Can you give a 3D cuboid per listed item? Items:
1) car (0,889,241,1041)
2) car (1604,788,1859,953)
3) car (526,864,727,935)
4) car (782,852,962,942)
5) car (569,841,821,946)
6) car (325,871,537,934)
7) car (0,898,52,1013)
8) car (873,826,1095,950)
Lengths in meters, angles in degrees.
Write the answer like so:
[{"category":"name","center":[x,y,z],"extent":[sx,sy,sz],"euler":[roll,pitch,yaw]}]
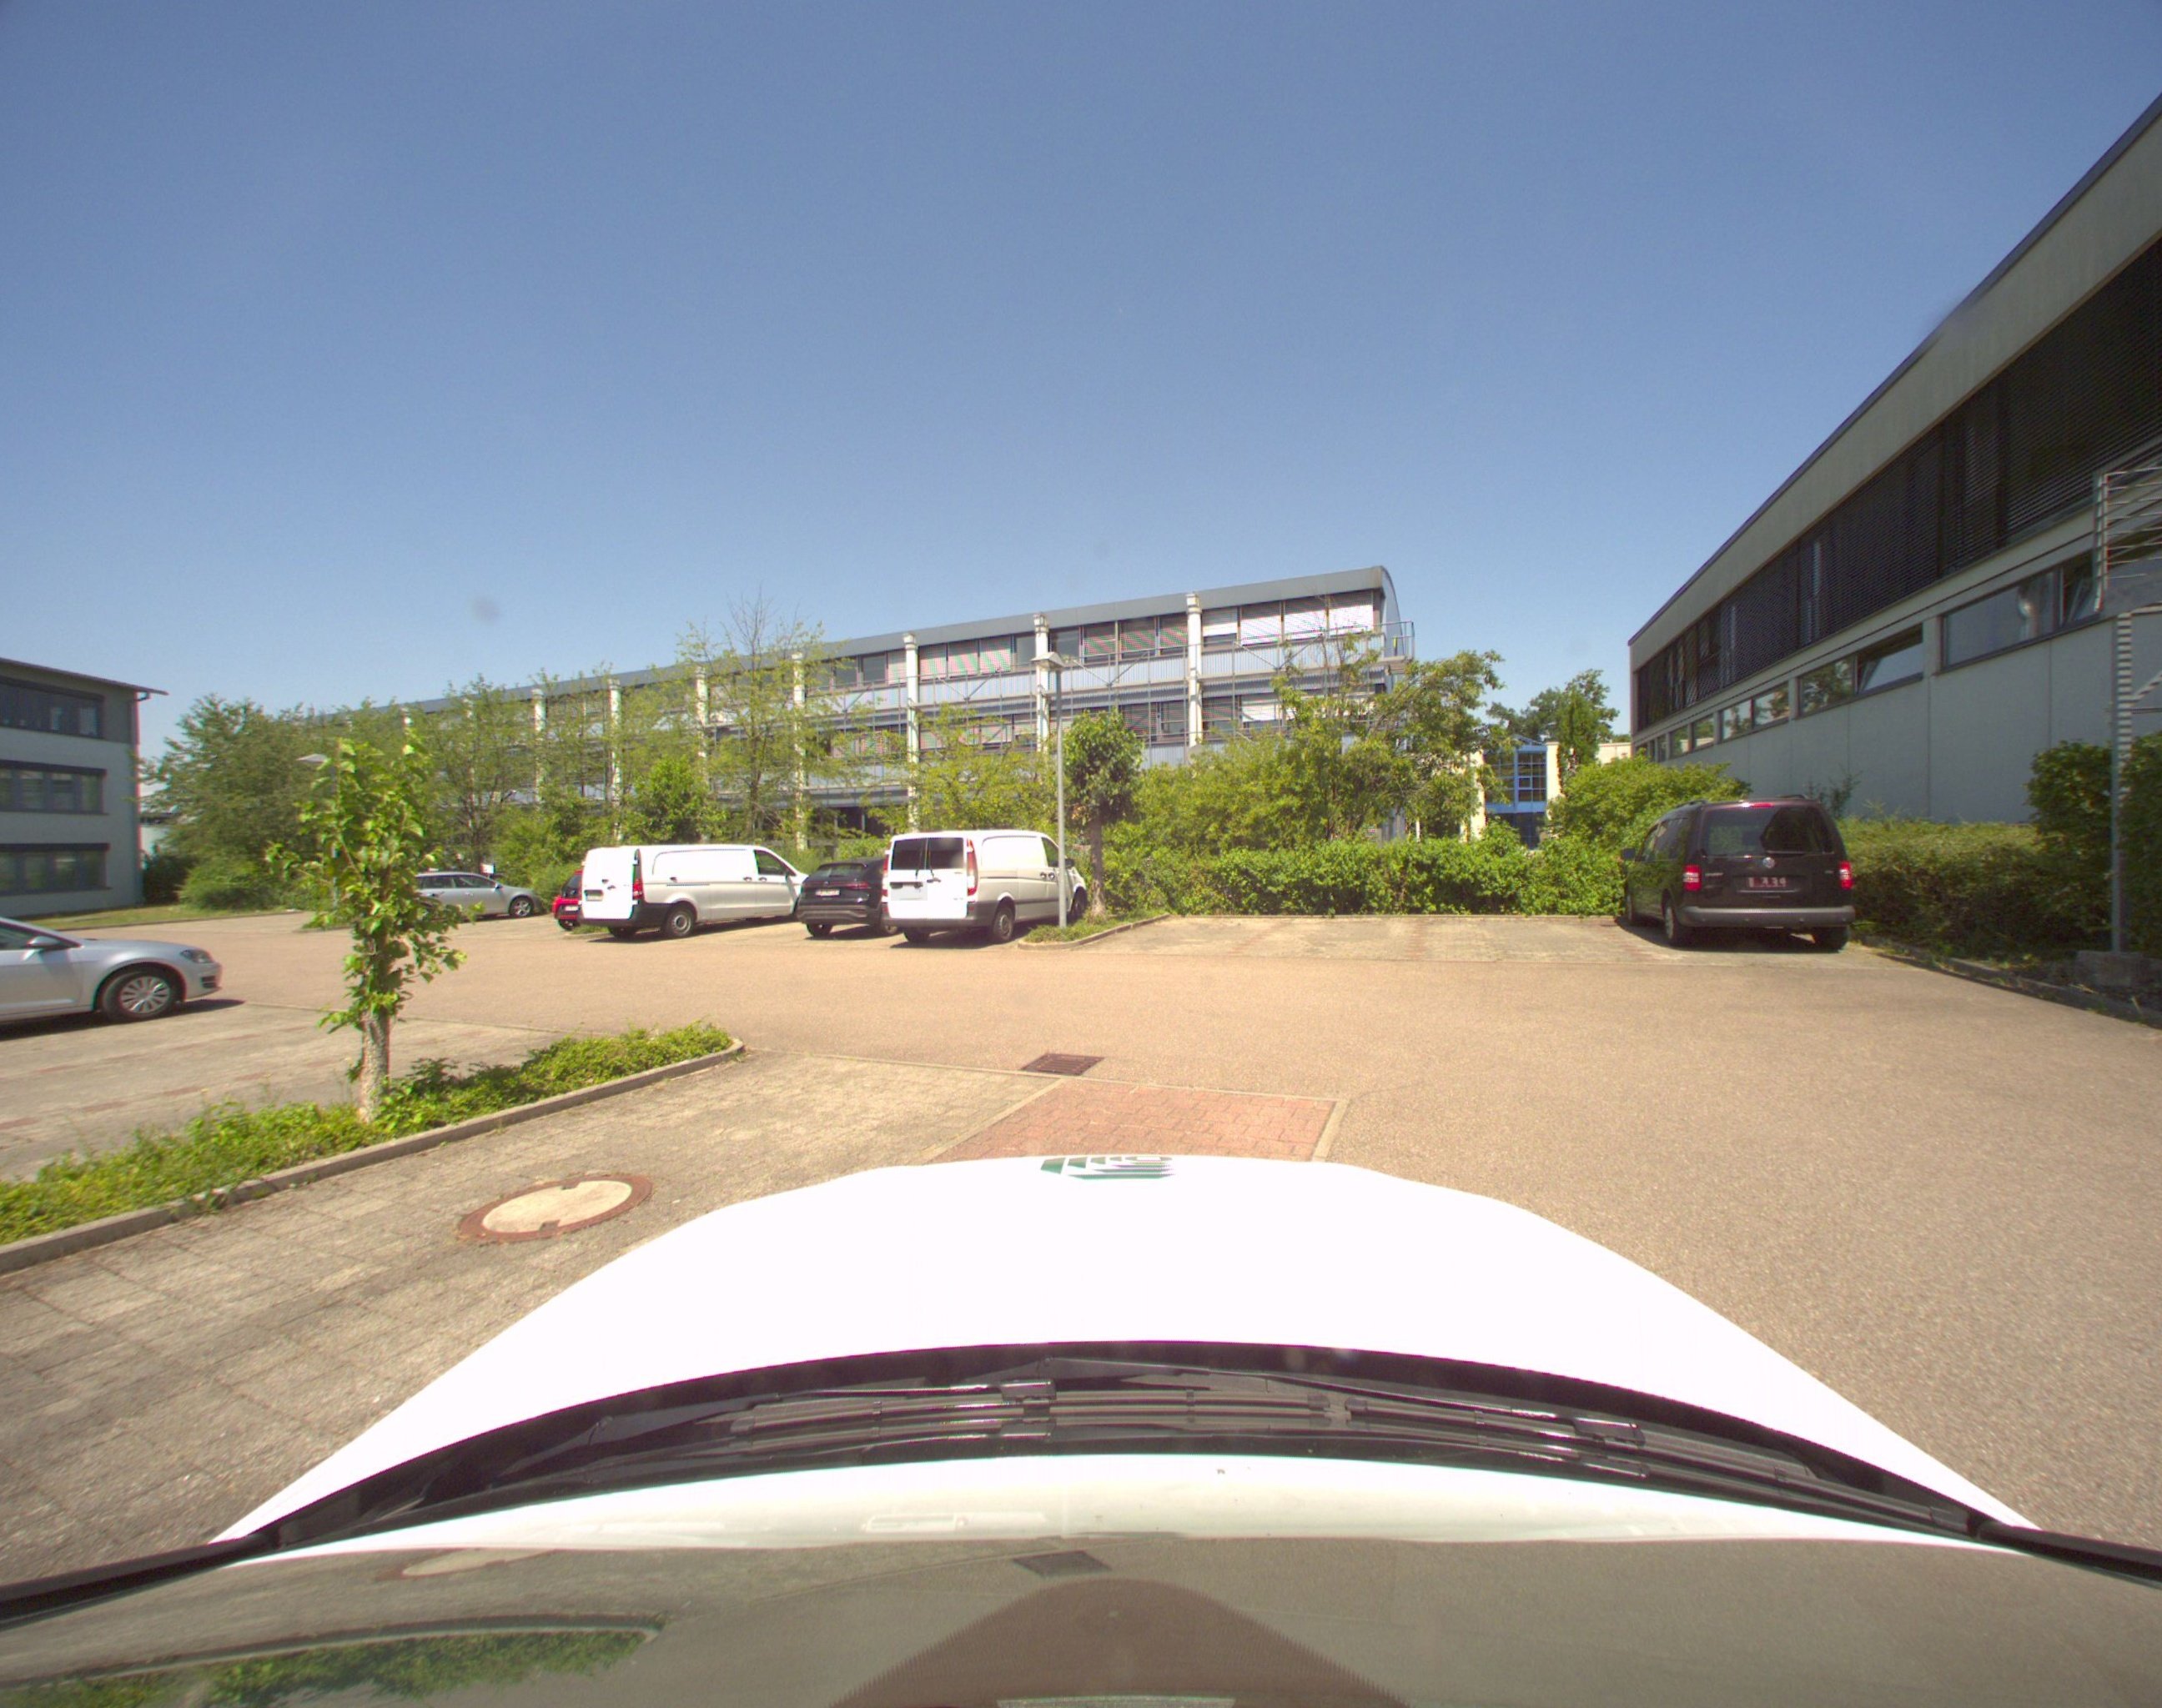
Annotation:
[{"category":"car","center":[-12.231,1.239,8.430],"extent":[1.840,1.472,4.509],"euler":[-2,1,23]},{"category":"car","center":[8.670,0.170,11.281],"extent":[1.727,1.837,4.023],"euler":[-2,0,24]},{"category":"car","center":[-11.156,1.053,20.292],"extent":[1.766,1.441,4.024],"euler":[-2,0,26]},{"category":"car","center":[-4.076,0.787,16.590],"extent":[1.741,1.476,4.016],"euler":[-2,1,15]},{"category":"car","center":[-8.197,0.736,17.871],"extent":[1.864,1.891,4.832],"euler":[-2,1,25]},{"category":"car","center":[-17.997,1.280,22.795],"extent":[1.850,1.406,4.195],"euler":[-1,1,27]},{"category":"car","center":[-15.667,1.433,9.591],"extent":[1.975,1.461,4.025],"euler":[-2,1,27]},{"category":"car","center":[-1.544,0.486,15.149],"extent":[1.896,1.905,4.835],"euler":[-2,1,23]}]
